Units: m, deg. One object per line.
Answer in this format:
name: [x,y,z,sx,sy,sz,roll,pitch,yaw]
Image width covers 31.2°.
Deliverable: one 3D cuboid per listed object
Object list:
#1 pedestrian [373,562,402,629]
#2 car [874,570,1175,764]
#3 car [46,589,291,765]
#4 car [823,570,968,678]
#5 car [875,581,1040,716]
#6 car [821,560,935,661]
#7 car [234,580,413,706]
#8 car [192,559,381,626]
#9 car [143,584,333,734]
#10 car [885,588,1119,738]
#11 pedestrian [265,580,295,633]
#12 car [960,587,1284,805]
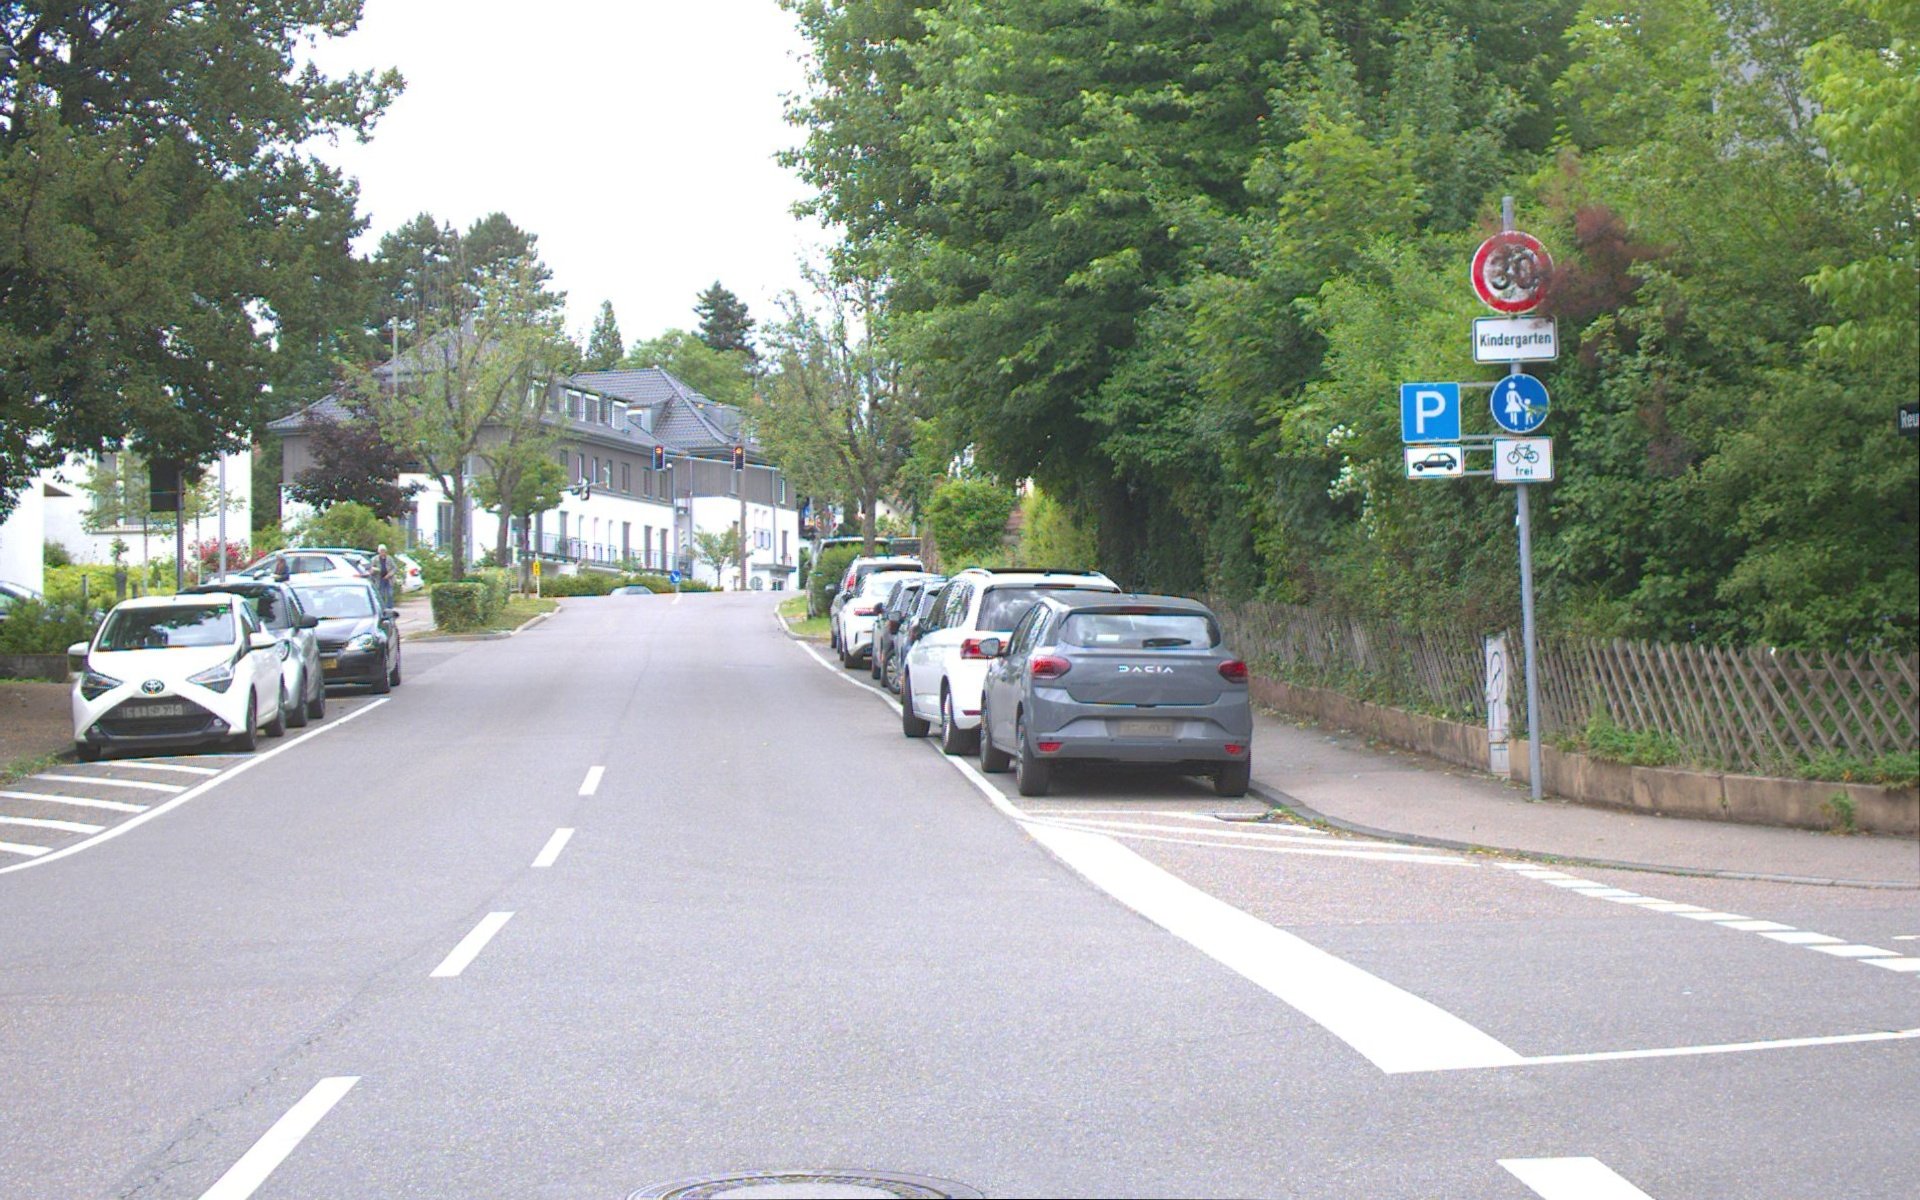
pedestrian: [-14.102,-0.113,84.689,0.593,1.635,0.565,-1,0,-3]
car: [0.505,0.555,32.218,2.000,1.603,4.760,-1,1,-9]
car: [-7.414,0.681,32.484,1.744,1.443,3.514,-2,1,-5]
car: [-1.038,0.327,52.590,1.993,1.486,5.005,-1,1,-3]
car: [-0.077,0.551,41.849,1.697,1.503,4.161,1,1,-4]
car: [-1.428,0.154,58.546,1.716,1.627,3.929,1,0,-4]
car: [-8.174,0.508,44.516,1.850,1.464,4.684,-1,1,-6]
car: [-16.714,-0.201,85.509,4.386,1.561,2.067,-1,1,-5]
car: [-7.664,0.598,36.696,1.623,1.513,2.976,-1,0,-5]
car: [0.381,0.629,36.894,1.809,1.447,4.379,-1,1,-8]
pedestrian: [-16.504,0.158,83.414,0.607,1.279,0.900,1,0,-4]
car: [1.186,0.692,27.309,1.937,1.486,4.457,-1,1,-5]
